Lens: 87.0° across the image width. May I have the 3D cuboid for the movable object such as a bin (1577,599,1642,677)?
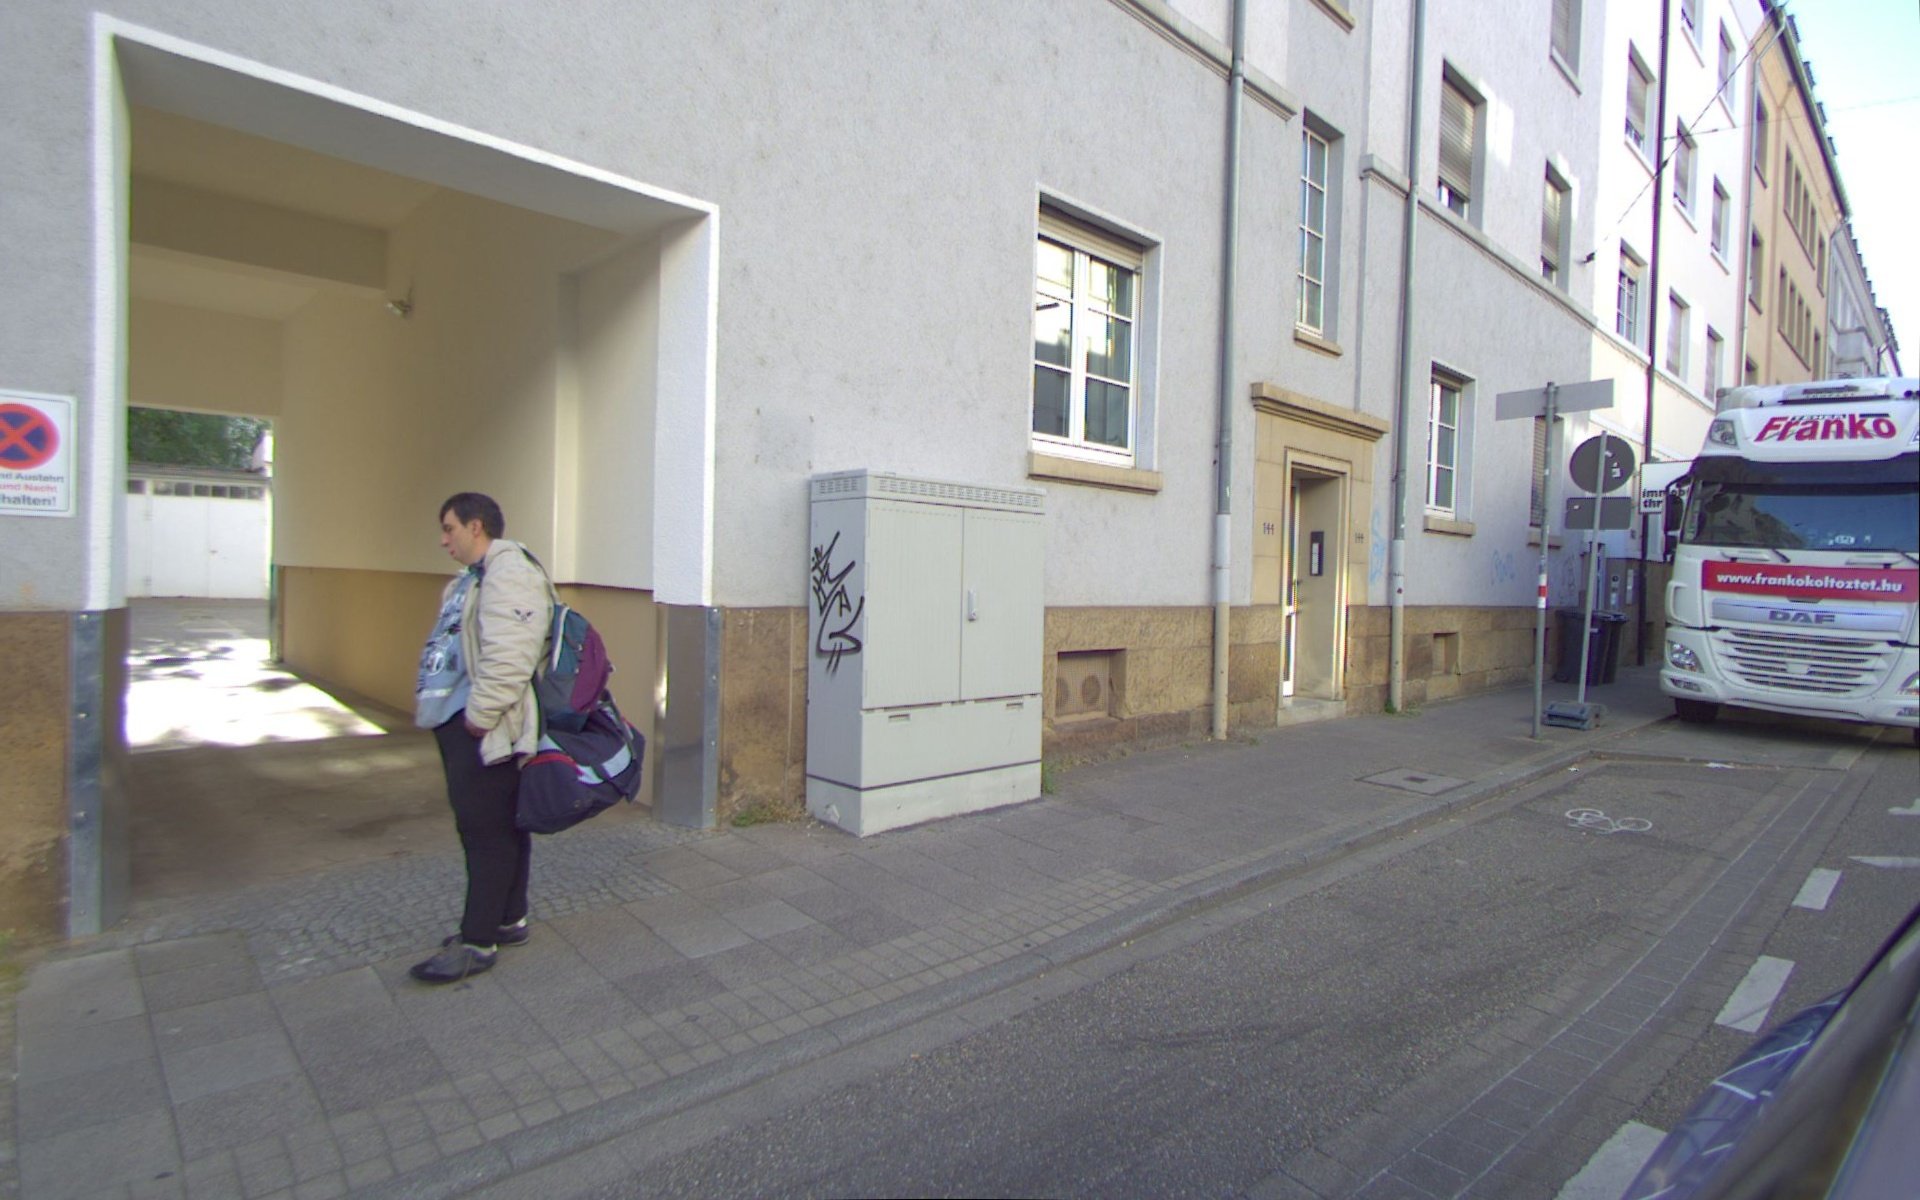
[{"bbox_3d":[9.647,0.548,15.042,0.560,1.107,0.665,0,2,-43],"label":"movable object such as a bin"}]

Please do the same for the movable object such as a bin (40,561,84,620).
[{"bbox_3d":[-14.379,-0.153,16.201,0.518,0.922,0.580,0,2,-43],"label":"movable object such as a bin"}]

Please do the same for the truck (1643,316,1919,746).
[{"bbox_3d":[12.573,-0.672,13.884,11.621,3.975,2.778,0,2,-44],"label":"truck"}]

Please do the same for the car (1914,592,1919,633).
[{"bbox_3d":[37.671,0.476,38.635,4.080,1.551,1.681,0,0,-44],"label":"car"}]

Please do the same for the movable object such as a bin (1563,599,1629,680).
[{"bbox_3d":[9.168,0.556,14.591,0.560,1.107,0.665,0,2,-43],"label":"movable object such as a bin"}]

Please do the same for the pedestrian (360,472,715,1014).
[{"bbox_3d":[-1.499,0.396,3.567,0.854,1.590,0.875,1,3,-43],"label":"pedestrian"}]

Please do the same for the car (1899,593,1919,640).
[{"bbox_3d":[33.501,0.543,34.738,4.080,1.551,1.681,0,0,-44],"label":"car"}]

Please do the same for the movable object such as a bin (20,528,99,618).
[{"bbox_3d":[-15.156,-0.460,17.019,0.946,1.426,1.597,0,2,-43],"label":"movable object such as a bin"}]
